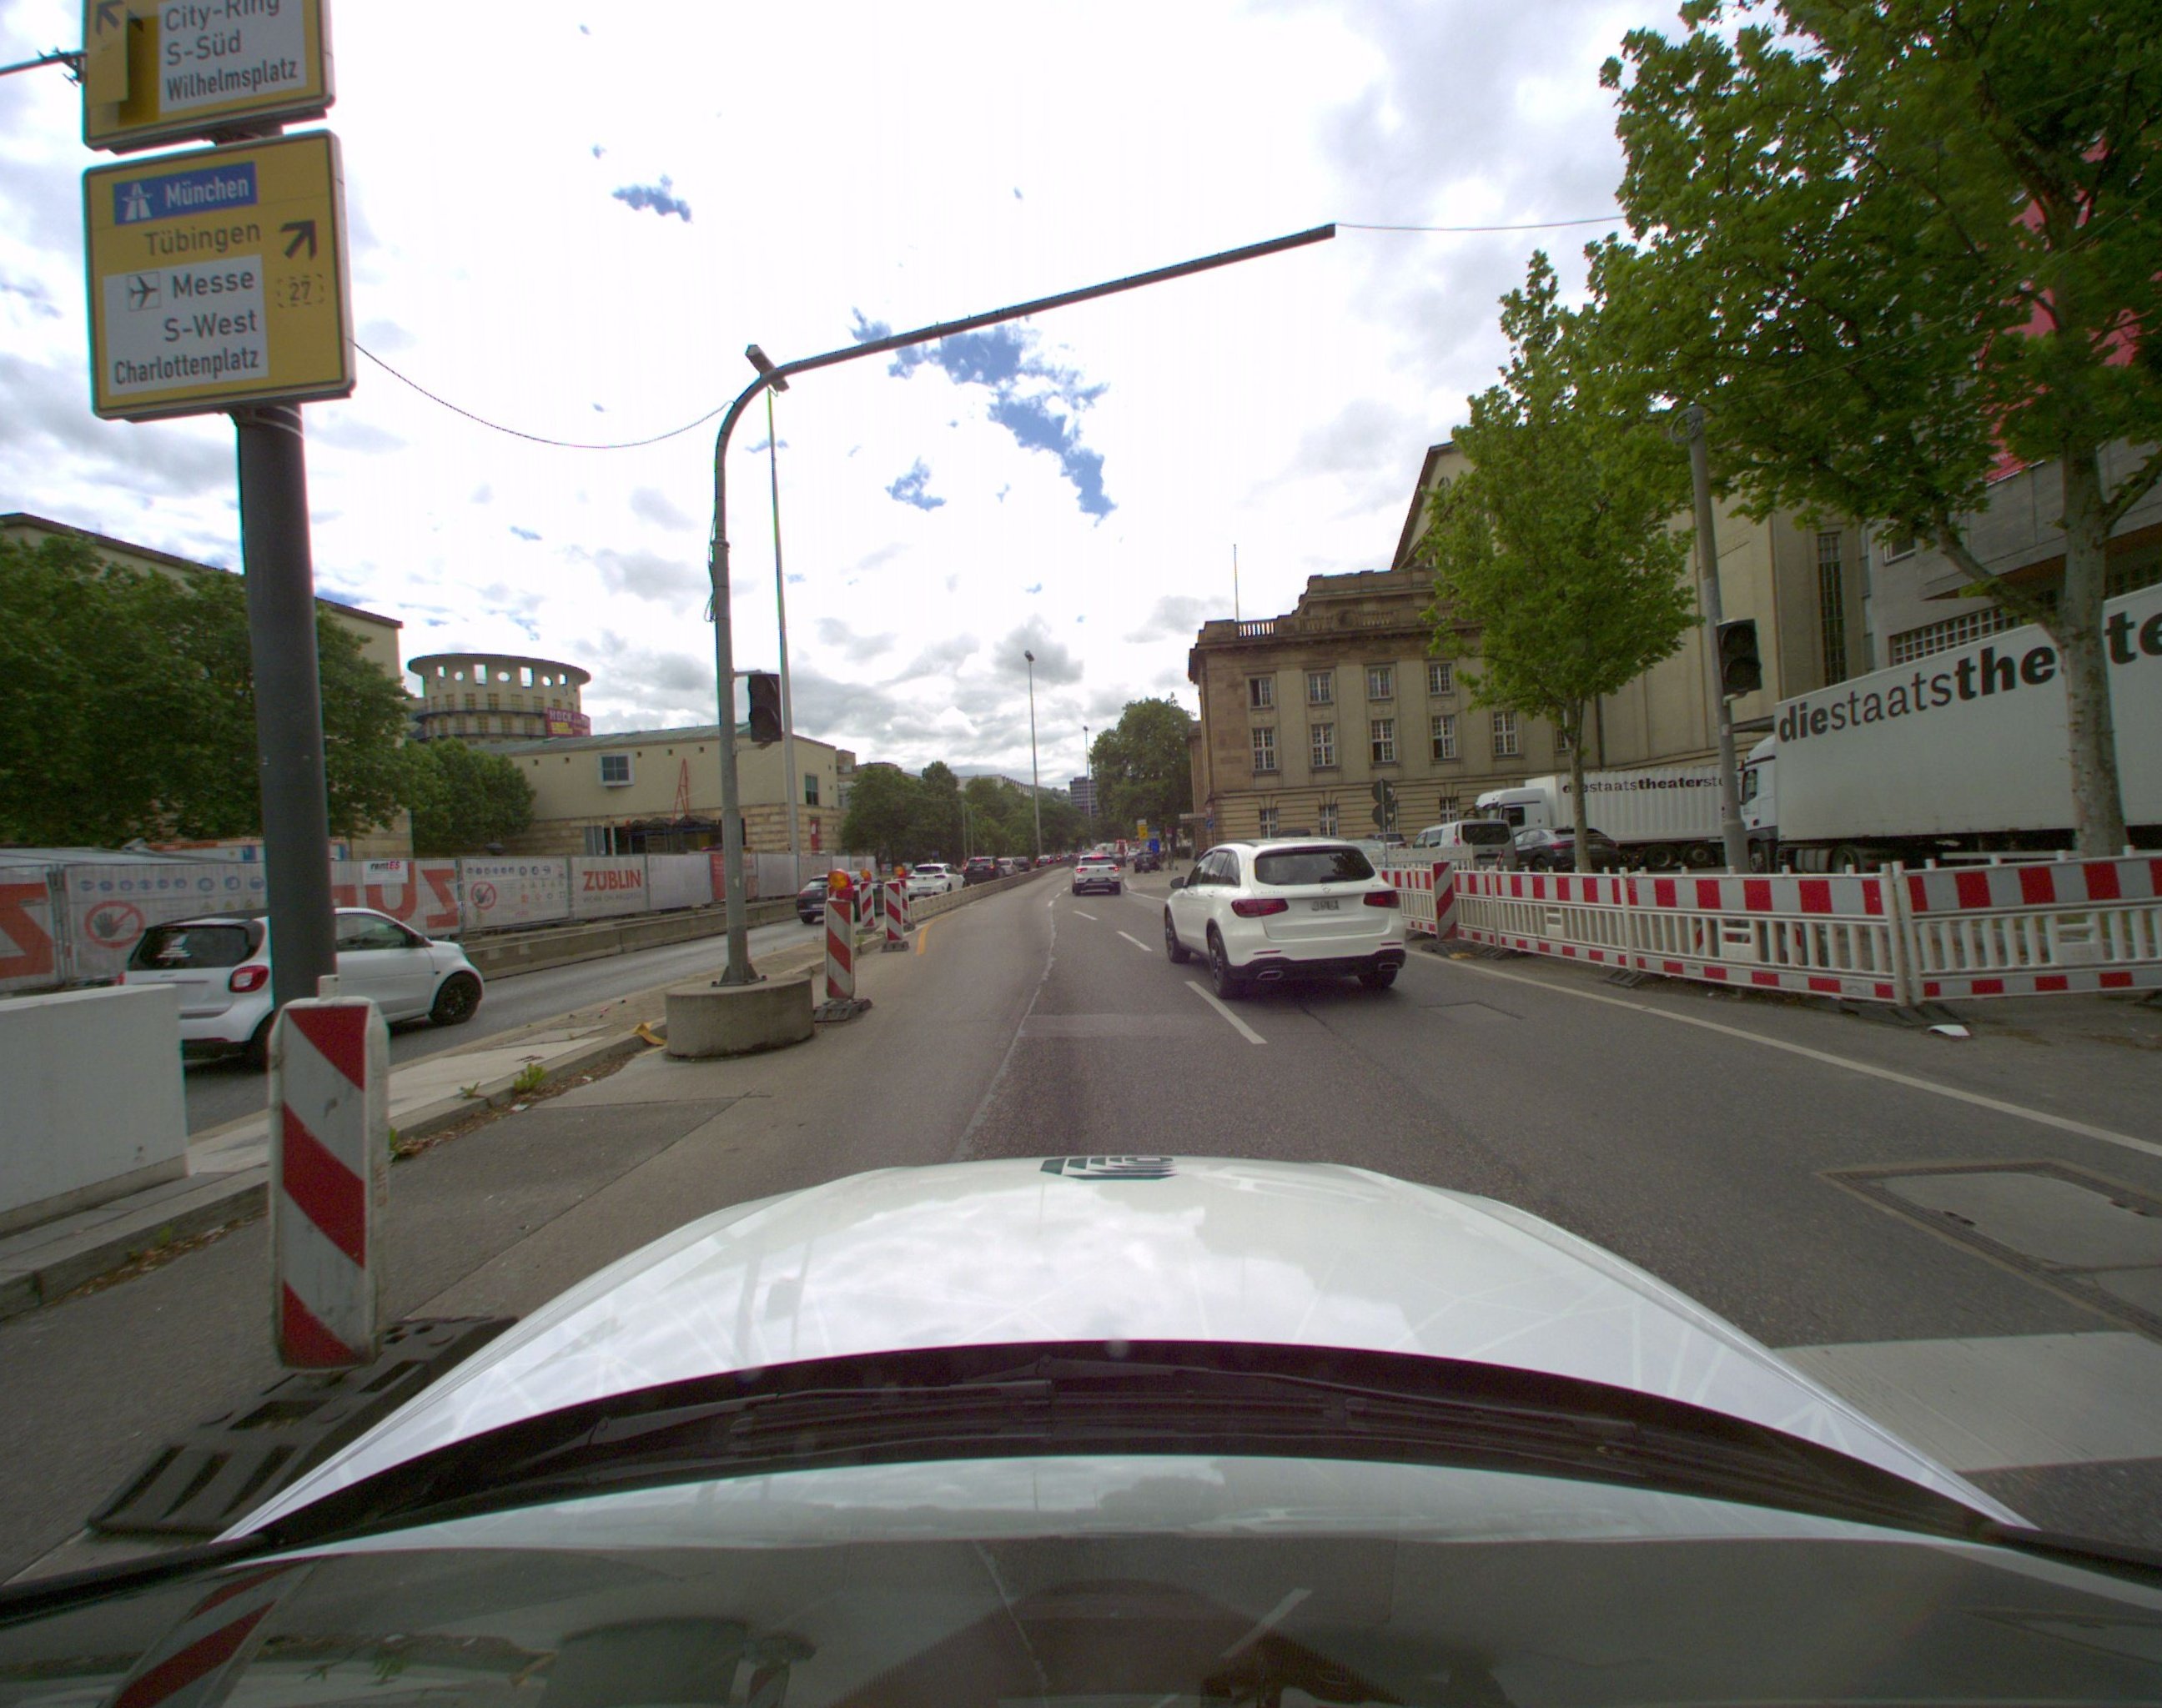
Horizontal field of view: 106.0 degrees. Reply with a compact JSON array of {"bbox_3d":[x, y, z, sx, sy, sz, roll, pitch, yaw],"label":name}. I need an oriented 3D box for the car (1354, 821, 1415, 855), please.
[{"bbox_3d":[15.924,-0.815,42.964,1.847,1.568,4.337,-3,-1,5],"label":"car"}]

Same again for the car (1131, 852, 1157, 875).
[{"bbox_3d":[4.627,0.652,60.055,1.815,1.567,4.486,-1,1,5],"label":"car"}]

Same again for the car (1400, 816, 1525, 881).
[{"bbox_3d":[10.606,-0.128,23.023,1.742,1.568,4.337,-3,-1,5],"label":"car"}]

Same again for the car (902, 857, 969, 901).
[{"bbox_3d":[-5.866,0.969,33.134,1.742,1.567,3.382,-2,0,5],"label":"car"}]

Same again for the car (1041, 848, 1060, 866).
[{"bbox_3d":[-3.800,0.374,101.343,1.986,2.013,4.002,-4,2,2],"label":"car"}]

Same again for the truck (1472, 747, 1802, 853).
[{"bbox_3d":[20.172,-1.889,30.054,9.982,3.050,2.572,-4,-1,5],"label":"truck"}]

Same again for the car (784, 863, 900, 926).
[{"bbox_3d":[-6.903,1.116,24.032,1.742,1.568,4.337,-3,0,5],"label":"car"}]

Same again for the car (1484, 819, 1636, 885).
[{"bbox_3d":[12.982,-0.030,22.414,1.847,1.568,4.337,-3,-1,5],"label":"car"}]

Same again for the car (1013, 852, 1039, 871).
[{"bbox_3d":[-4.724,0.636,70.916,1.744,1.568,4.333,-3,0,2],"label":"car"}]

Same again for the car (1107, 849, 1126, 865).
[{"bbox_3d":[3.730,0.252,84.684,1.815,1.567,4.486,-1,1,5],"label":"car"}]

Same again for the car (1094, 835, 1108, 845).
[{"bbox_3d":[5.207,-3.562,210.737,2.567,2.374,5.540,-4,0,9],"label":"car"}]

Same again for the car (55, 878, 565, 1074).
[{"bbox_3d":[-8.457,1.199,9.572,1.984,1.641,4.005,-2,0,4],"label":"car"}]

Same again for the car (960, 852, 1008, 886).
[{"bbox_3d":[-5.210,0.777,44.035,1.742,1.567,3.382,-6,0,5],"label":"car"}]

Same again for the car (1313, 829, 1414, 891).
[{"bbox_3d":[8.222,0.179,24.100,1.742,1.568,4.337,-3,-1,5],"label":"car"}]

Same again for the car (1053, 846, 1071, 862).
[{"bbox_3d":[-2.560,-0.022,111.964,1.985,2.013,4.004,-4,2,3],"label":"car"}]

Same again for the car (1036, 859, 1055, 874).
[{"bbox_3d":[-4.021,1.442,92.555,1.744,1.568,4.333,-3,0,2],"label":"car"}]

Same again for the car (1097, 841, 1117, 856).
[{"bbox_3d":[4.550,-0.966,141.138,2.567,2.374,5.540,-4,0,9],"label":"car"}]

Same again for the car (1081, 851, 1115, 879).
[{"bbox_3d":[0.989,0.621,50.387,1.819,1.567,4.476,-1,1,-2],"label":"car"}]

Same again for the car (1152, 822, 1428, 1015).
[{"bbox_3d":[2.163,0.595,9.871,1.808,1.642,4.545,-5,0,-4],"label":"car"}]

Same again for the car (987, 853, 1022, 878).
[{"bbox_3d":[-5.241,0.745,56.393,1.744,1.568,4.333,-3,0,2],"label":"car"}]

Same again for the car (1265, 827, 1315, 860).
[{"bbox_3d":[11.053,-0.510,43.319,1.847,1.568,4.337,-3,-1,5],"label":"car"}]

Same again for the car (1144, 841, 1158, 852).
[{"bbox_3d":[15.939,-1.685,185.384,2.567,2.374,5.540,-4,0,9],"label":"car"}]

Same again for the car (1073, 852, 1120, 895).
[{"bbox_3d":[0.588,0.742,32.519,1.745,1.568,4.331,-2,0,0],"label":"car"}]

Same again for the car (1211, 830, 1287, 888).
[{"bbox_3d":[5.155,0.157,25.506,1.742,1.568,4.337,-3,-1,5],"label":"car"}]
